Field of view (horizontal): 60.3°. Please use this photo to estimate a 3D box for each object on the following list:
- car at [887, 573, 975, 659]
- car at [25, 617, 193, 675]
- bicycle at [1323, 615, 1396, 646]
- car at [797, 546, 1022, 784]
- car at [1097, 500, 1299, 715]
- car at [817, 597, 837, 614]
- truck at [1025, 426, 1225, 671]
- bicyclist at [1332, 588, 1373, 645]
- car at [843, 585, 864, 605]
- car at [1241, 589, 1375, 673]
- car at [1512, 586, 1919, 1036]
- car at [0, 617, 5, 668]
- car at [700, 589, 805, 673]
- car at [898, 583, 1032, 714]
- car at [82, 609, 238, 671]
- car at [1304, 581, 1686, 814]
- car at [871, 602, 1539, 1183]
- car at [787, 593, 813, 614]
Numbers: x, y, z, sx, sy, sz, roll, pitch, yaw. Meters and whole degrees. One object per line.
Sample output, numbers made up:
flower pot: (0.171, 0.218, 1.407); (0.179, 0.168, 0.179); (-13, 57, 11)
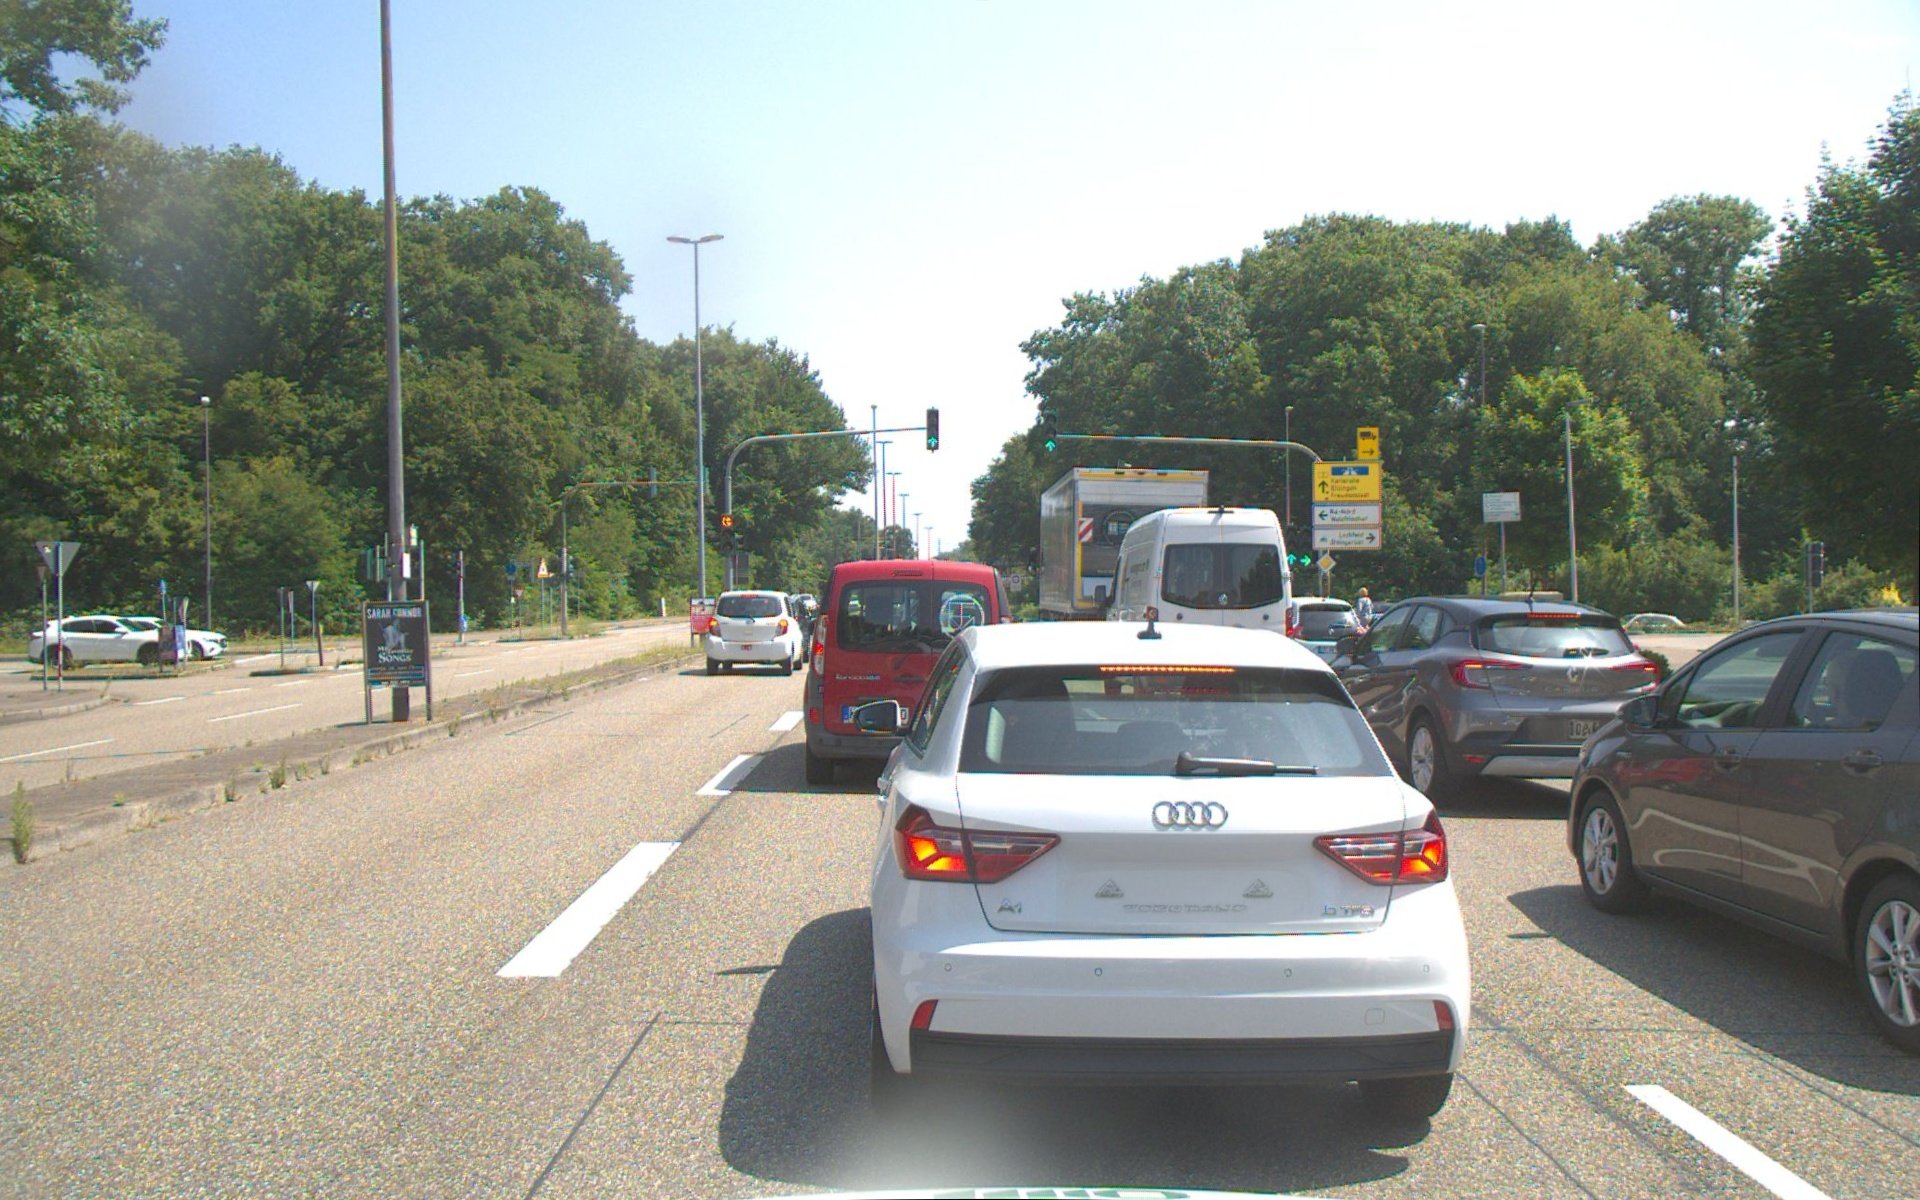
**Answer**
car: (-0.648, 0.301, 33.755); (1.677, 1.660, 4.090); (0, 0, -3)
car: (-26.737, 1.441, 52.102); (4.290, 1.711, 1.807); (1, -1, -9)
bicycle: (10.282, 0.782, 42.629); (0.596, 0.779, 1.798); (-1, 0, -43)
car: (-0.467, 0.483, 14.454); (1.677, 1.779, 4.090); (0, 0, -3)
car: (3.183, 0.086, 23.171); (1.990, 2.690, 4.843); (0, 0, -2)
car: (-13.571, 0.557, 169.157); (1.793, 1.758, 3.999); (-1, 0, -2)
truck: (3.289, -0.986, 36.510); (3.026, 4.511, 11.577); (1, 0, -1)
bicyclist: (10.147, 0.428, 42.761); (0.594, 1.464, 0.816); (-1, 0, -44)
car: (-10.467, -0.481, 162.868); (1.834, 1.893, 3.999); (-1, 0, -2)
car: (6.906, 0.580, 33.212); (1.677, 1.573, 4.090); (0, 0, -3)
car: (4.001, 0.739, 7.110); (1.678, 1.504, 4.090); (3, 0, -3)
car: (-34.462, 1.393, 54.984); (4.294, 1.711, 1.805); (1, -1, -13)
car: (-3.928, 0.557, 31.883); (1.677, 1.519, 4.090); (0, 0, -3)
car: (-0.011, 0.613, 23.039); (1.677, 1.660, 4.090); (0, 0, -3)
car: (-26.998, 1.329, 55.917); (4.291, 1.710, 1.807); (-4, 0, -9)
car: (4.183, 0.675, 13.642); (1.677, 1.621, 4.090); (0, 0, -3)
car: (0.530, 0.726, 6.168); (1.677, 1.410, 4.090); (0, 0, -3)
car: (-14.201, 0.338, 146.848); (1.953, 1.803, 4.203); (-1, 0, -2)
